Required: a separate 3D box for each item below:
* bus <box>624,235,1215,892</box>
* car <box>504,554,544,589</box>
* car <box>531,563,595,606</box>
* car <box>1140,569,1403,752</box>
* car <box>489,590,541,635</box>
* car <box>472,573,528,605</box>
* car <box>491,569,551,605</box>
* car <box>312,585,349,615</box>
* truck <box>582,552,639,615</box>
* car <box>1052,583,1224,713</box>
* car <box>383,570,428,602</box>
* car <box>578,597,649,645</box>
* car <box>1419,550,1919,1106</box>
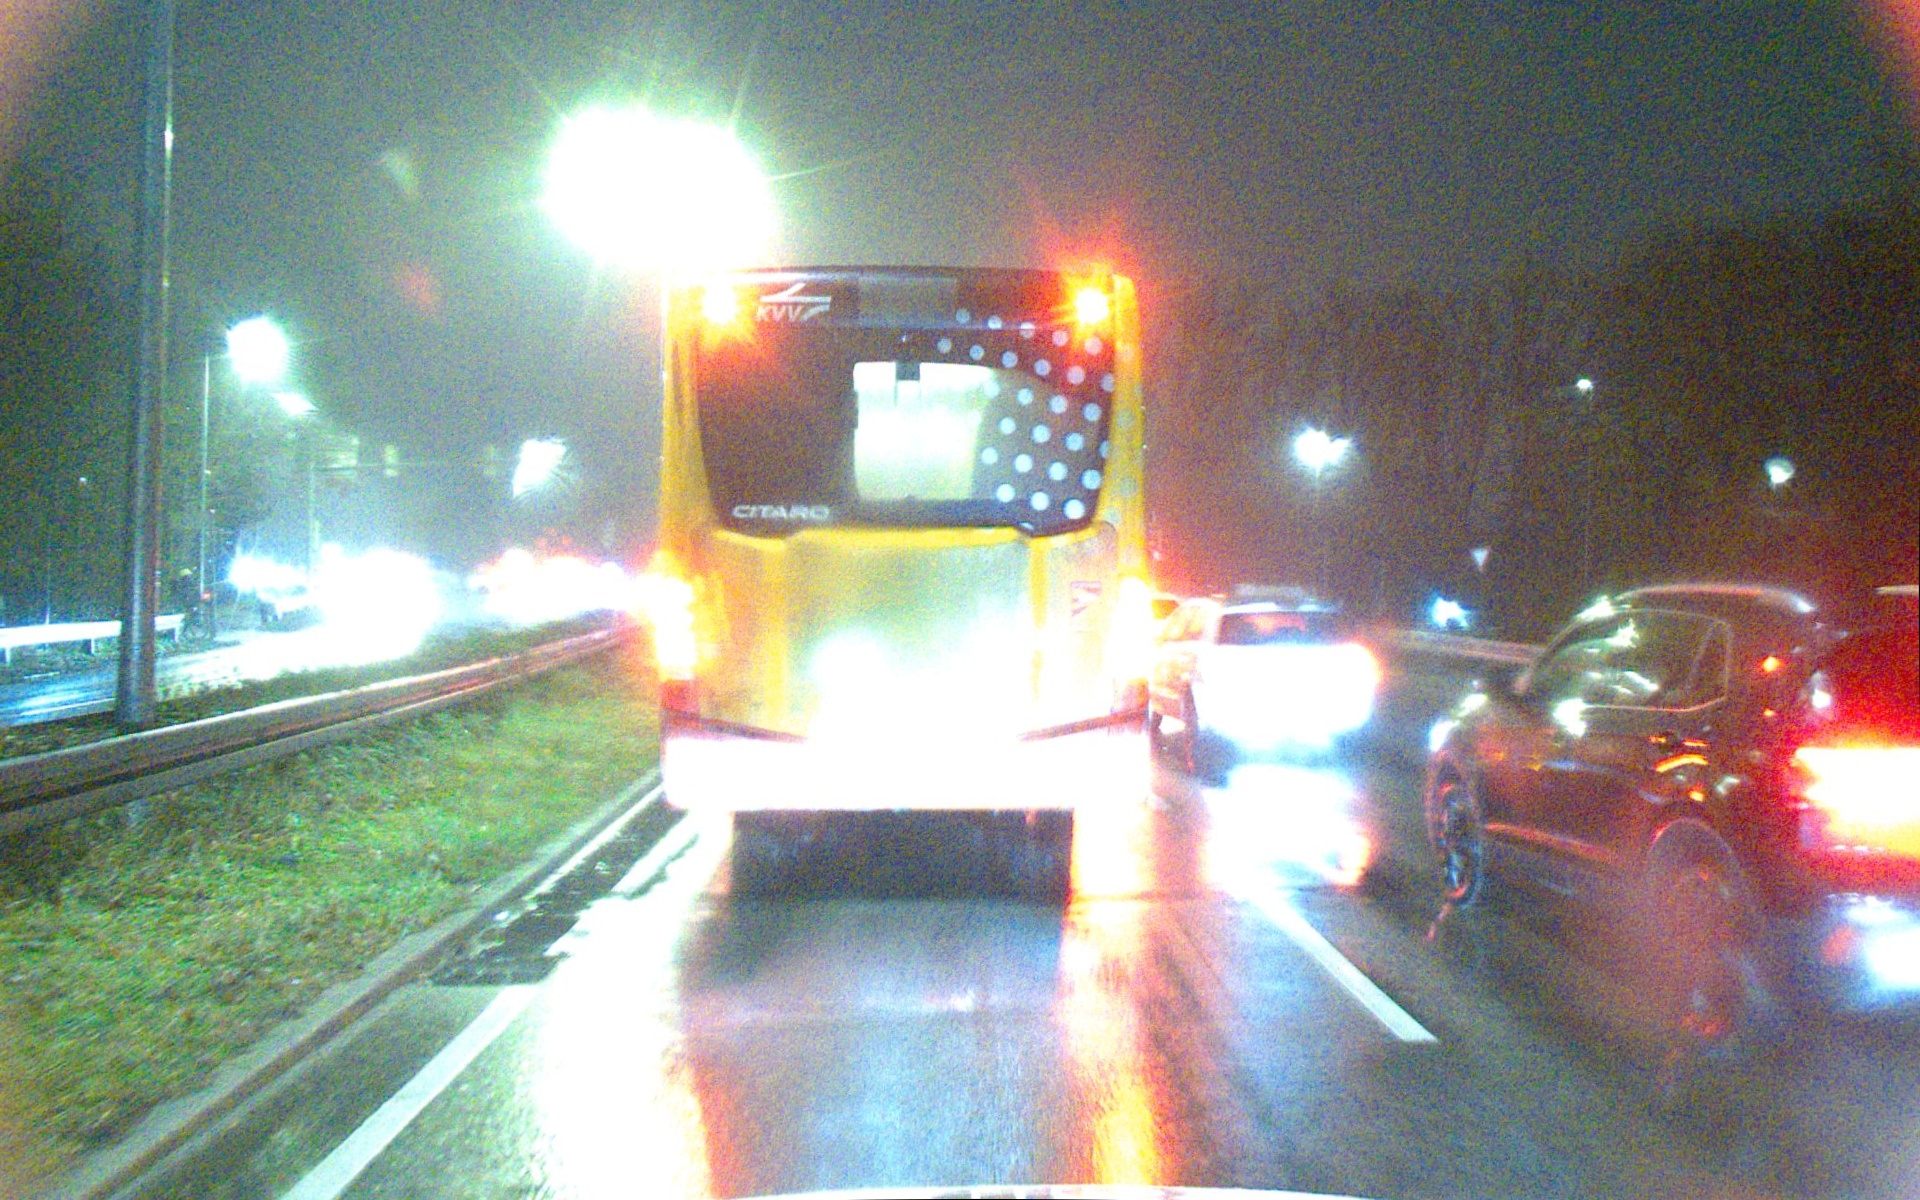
[{"bbox_3d":[-0.253,-0.181,12.290,2.758,3.077,8.685,2,0,-1],"label":"bus"},{"bbox_3d":[-27.066,-1.761,102.730,2.084,2.049,3.988,2,-1,-12],"label":"car"},{"bbox_3d":[-20.453,-0.800,85.031,1.975,2.049,3.955,3,-1,-33],"label":"car"},{"bbox_3d":[2.971,0.530,16.551,1.783,1.618,3.775,0,0,-2],"label":"car"},{"bbox_3d":[-20.942,0.581,77.727,1.965,2.049,3.975,1,0,-21],"label":"car"},{"bbox_3d":[-25.347,-0.632,91.083,1.739,1.659,3.574,3,-1,-38],"label":"car"},{"bbox_3d":[-26.148,-0.782,98.502,1.981,2.049,3.943,1,0,-39],"label":"car"},{"bbox_3d":[-35.893,-0.006,94.314,1.763,1.675,3.970,0,0,-24],"label":"car"},{"bbox_3d":[-14.925,-0.754,70.505,1.827,2.434,4.755,-1,3,-19],"label":"truck"},{"bbox_3d":[2.329,0.596,22.535,1.783,1.618,3.775,0,0,-2],"label":"car"},{"bbox_3d":[-35.923,-0.896,107.081,2.186,2.049,3.964,1,0,-28],"label":"car"},{"bbox_3d":[-11.224,0.654,53.781,1.956,1.512,3.993,0,0,-8],"label":"car"},{"bbox_3d":[3.315,0.674,6.680,1.704,1.592,3.775,2,0,-2],"label":"car"}]
